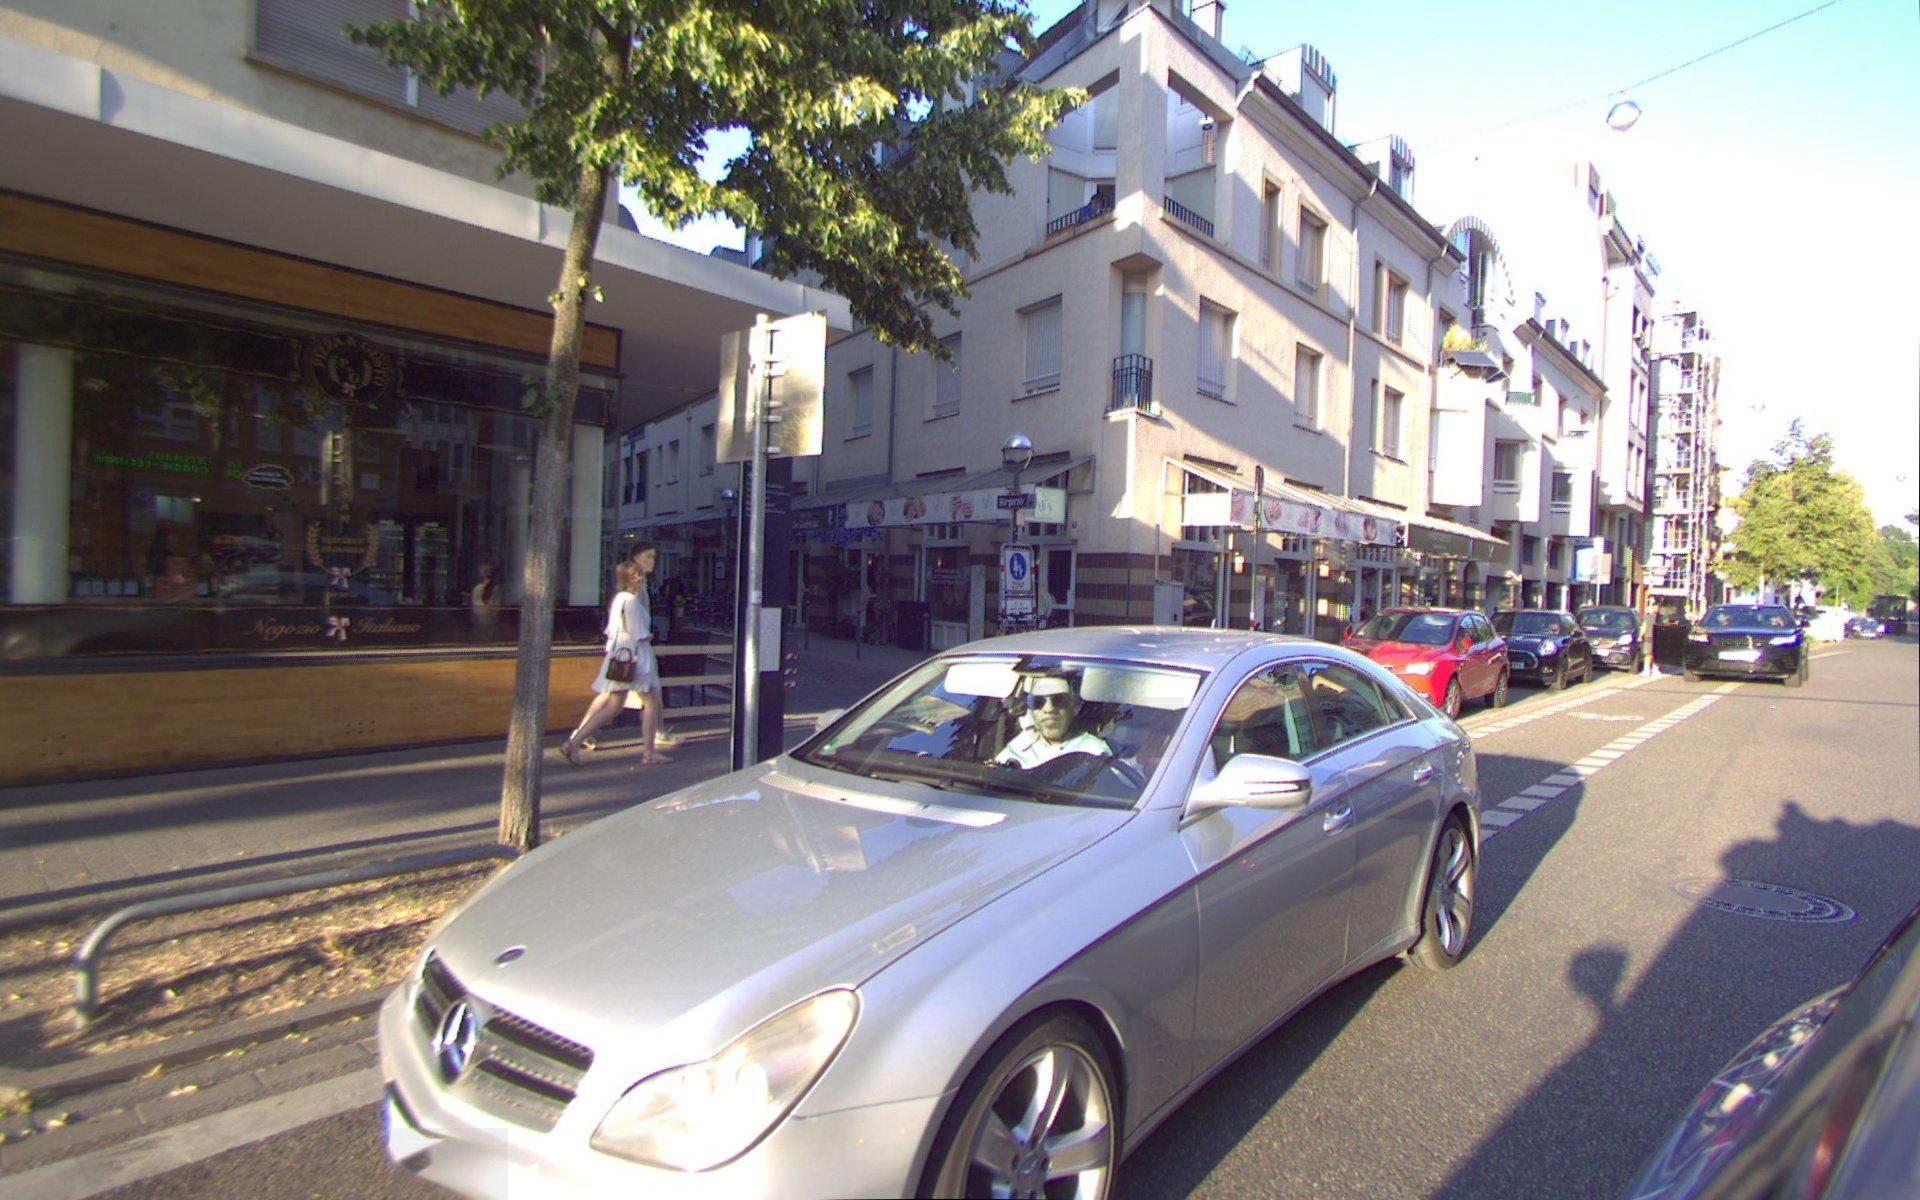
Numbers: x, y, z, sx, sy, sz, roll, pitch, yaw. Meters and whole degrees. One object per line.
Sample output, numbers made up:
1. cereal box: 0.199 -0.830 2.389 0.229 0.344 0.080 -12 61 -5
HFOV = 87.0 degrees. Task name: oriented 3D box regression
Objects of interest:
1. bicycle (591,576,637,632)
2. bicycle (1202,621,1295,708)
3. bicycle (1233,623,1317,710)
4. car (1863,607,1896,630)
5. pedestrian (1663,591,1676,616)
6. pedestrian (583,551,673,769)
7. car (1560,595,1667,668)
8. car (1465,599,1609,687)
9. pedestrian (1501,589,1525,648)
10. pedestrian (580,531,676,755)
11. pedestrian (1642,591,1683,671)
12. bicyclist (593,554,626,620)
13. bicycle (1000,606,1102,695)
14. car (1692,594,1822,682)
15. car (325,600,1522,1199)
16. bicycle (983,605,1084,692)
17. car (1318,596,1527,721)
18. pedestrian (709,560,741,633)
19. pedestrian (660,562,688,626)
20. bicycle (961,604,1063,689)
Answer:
1. bicycle: -7.681 0.067 22.418 0.456 1.161 1.980 3 -1 -33
2. bicycle: 3.912 0.843 13.656 0.314 1.059 1.851 3 2 45
3. bicycle: 4.210 0.855 13.468 0.314 1.059 1.637 3 2 45
4. car: 62.773 1.246 69.089 1.617 1.492 3.632 0 0 42
5. pedestrian: 36.310 0.197 51.800 0.491 1.279 0.415 0 -1 43
6. pedestrian: -2.592 0.445 7.893 0.520 1.612 0.402 6 3 42
7. car: 16.196 0.719 25.005 1.616 1.612 3.866 2 1 42
8. car: 11.190 0.748 19.523 1.616 1.452 3.866 3 2 42
9. pedestrian: 17.117 0.565 31.326 0.575 1.823 0.443 0 -1 44
10. pedestrian: -2.779 0.333 8.457 0.543 1.779 0.494 6 3 42
11. pedestrian: 16.026 0.699 23.077 0.629 1.771 0.660 3 2 42
12. bicyclist: -7.883 -0.293 22.751 0.453 1.453 0.719 3 -1 -33
13. bicycle: 1.277 0.659 13.867 0.321 1.118 1.850 2 1 43
14. car: 16.976 0.730 21.478 1.885 1.656 4.162 0 0 42
15. car: 0.534 0.731 3.721 1.741 1.419 4.569 0 0 42
16. bicycle: 1.056 0.643 14.083 0.290 1.118 1.858 2 1 43
17. car: 6.645 0.725 14.336 1.588 1.451 3.866 4 2 42
18. pedestrian: -5.735 -0.095 24.677 0.688 1.696 0.799 2 2 -12
19. pedestrian: -7.704 -0.163 27.241 0.641 1.675 0.569 1 1 -21
20. bicycle: 0.762 0.622 14.384 0.321 1.118 1.850 2 1 43
